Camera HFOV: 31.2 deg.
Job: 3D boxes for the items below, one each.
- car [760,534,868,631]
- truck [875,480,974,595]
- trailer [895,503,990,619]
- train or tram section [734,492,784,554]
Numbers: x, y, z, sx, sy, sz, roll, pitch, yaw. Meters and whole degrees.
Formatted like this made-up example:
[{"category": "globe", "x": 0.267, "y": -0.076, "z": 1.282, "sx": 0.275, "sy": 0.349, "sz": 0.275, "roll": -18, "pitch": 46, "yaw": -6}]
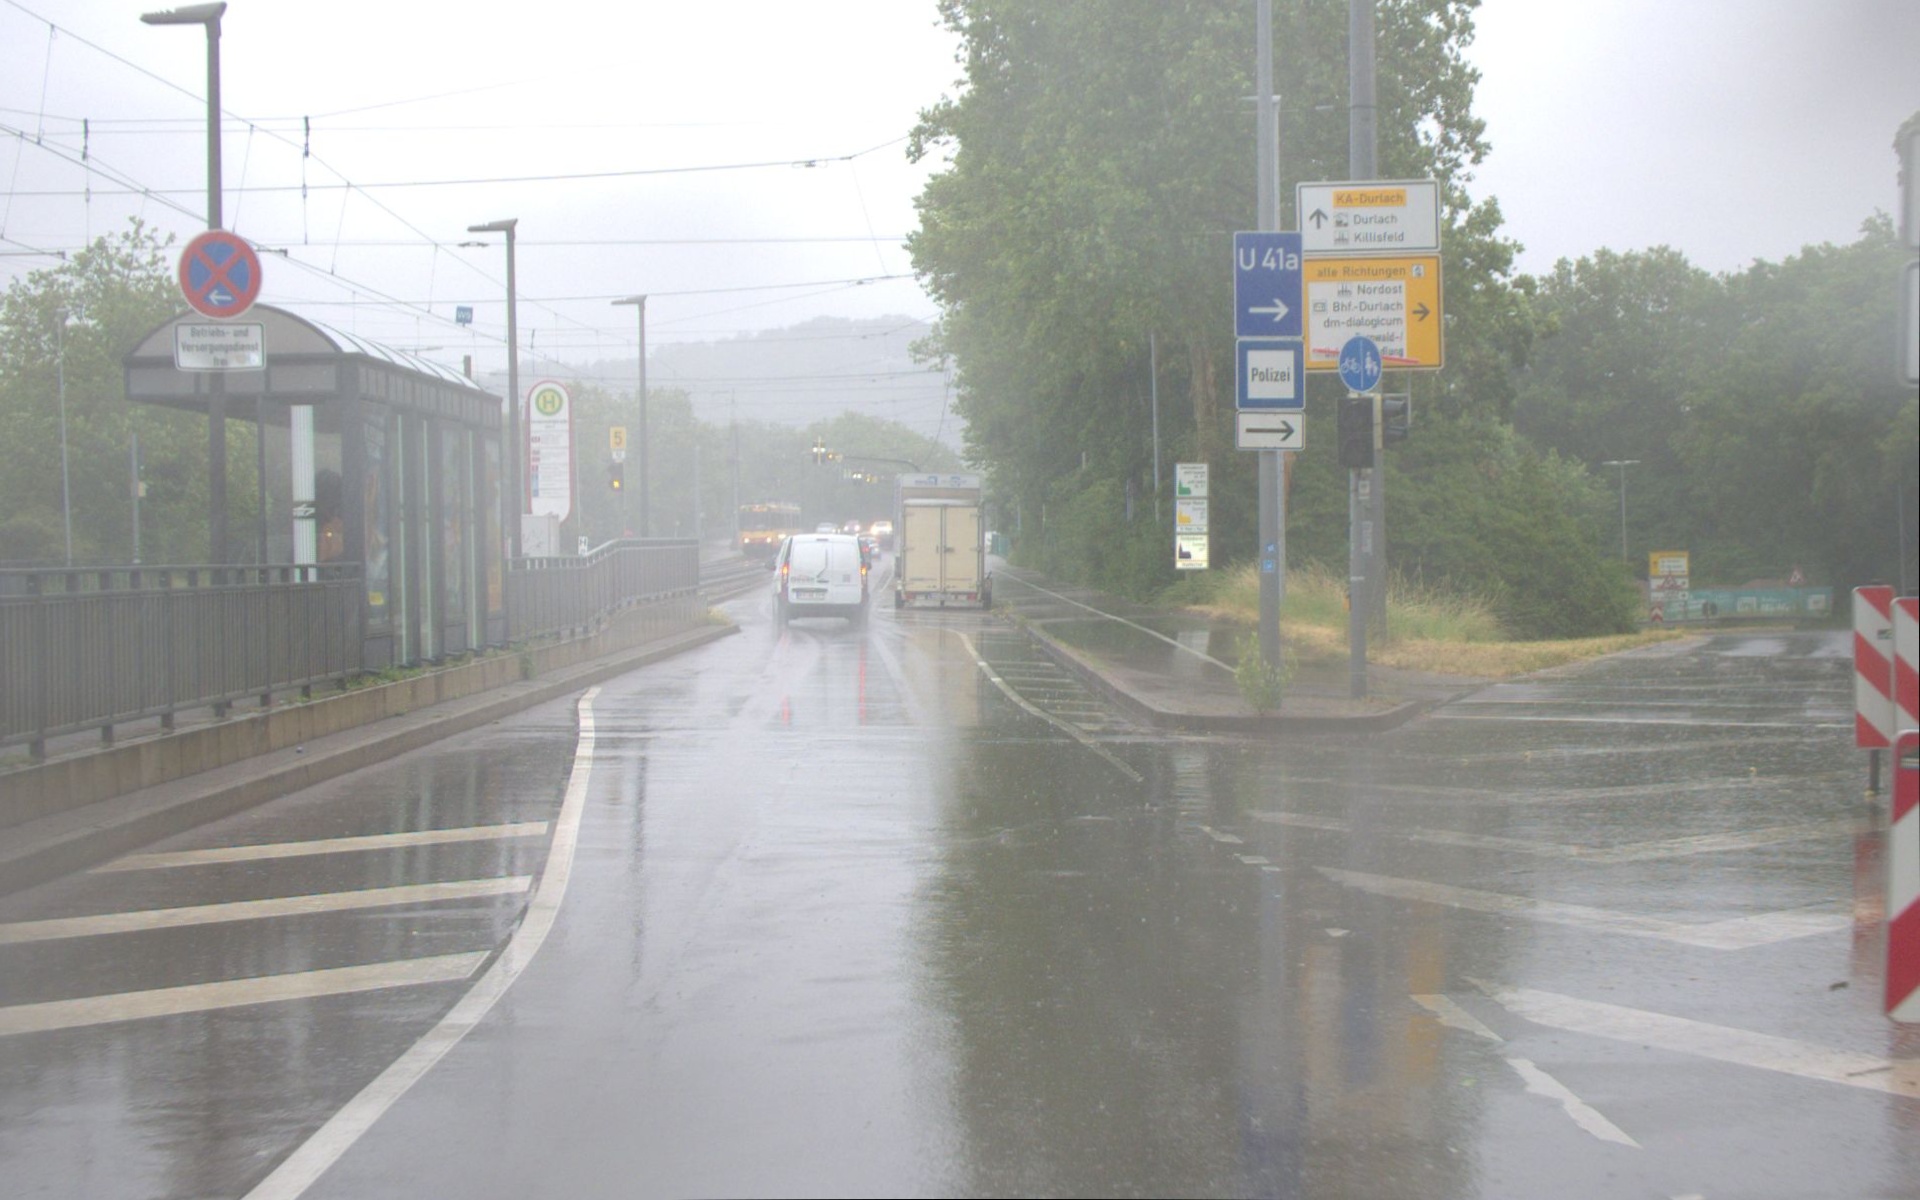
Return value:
[{"category": "car", "x": -2.879, "y": -0.366, "z": 67.270, "sx": 1.993, "sy": 1.842, "sz": 4.001, "roll": 0, "pitch": 1, "yaw": -4}, {"category": "truck", "x": -1.277, "y": -2.031, "z": 116.105, "sx": 2.775, "sy": 3.692, "sz": 9.853, "roll": 0, "pitch": 0, "yaw": -4}, {"category": "trailer", "x": -0.393, "y": -0.940, "z": 84.960, "sx": 2.166, "sy": 2.748, "sz": 5.676, "roll": 0, "pitch": 0, "yaw": 2}, {"category": "train or tram section", "x": -13.717, "y": -5.241, "z": 235.344, "sx": 2.806, "sy": 4.135, "sz": 13.020, "roll": 0, "pitch": 1, "yaw": 0}]
